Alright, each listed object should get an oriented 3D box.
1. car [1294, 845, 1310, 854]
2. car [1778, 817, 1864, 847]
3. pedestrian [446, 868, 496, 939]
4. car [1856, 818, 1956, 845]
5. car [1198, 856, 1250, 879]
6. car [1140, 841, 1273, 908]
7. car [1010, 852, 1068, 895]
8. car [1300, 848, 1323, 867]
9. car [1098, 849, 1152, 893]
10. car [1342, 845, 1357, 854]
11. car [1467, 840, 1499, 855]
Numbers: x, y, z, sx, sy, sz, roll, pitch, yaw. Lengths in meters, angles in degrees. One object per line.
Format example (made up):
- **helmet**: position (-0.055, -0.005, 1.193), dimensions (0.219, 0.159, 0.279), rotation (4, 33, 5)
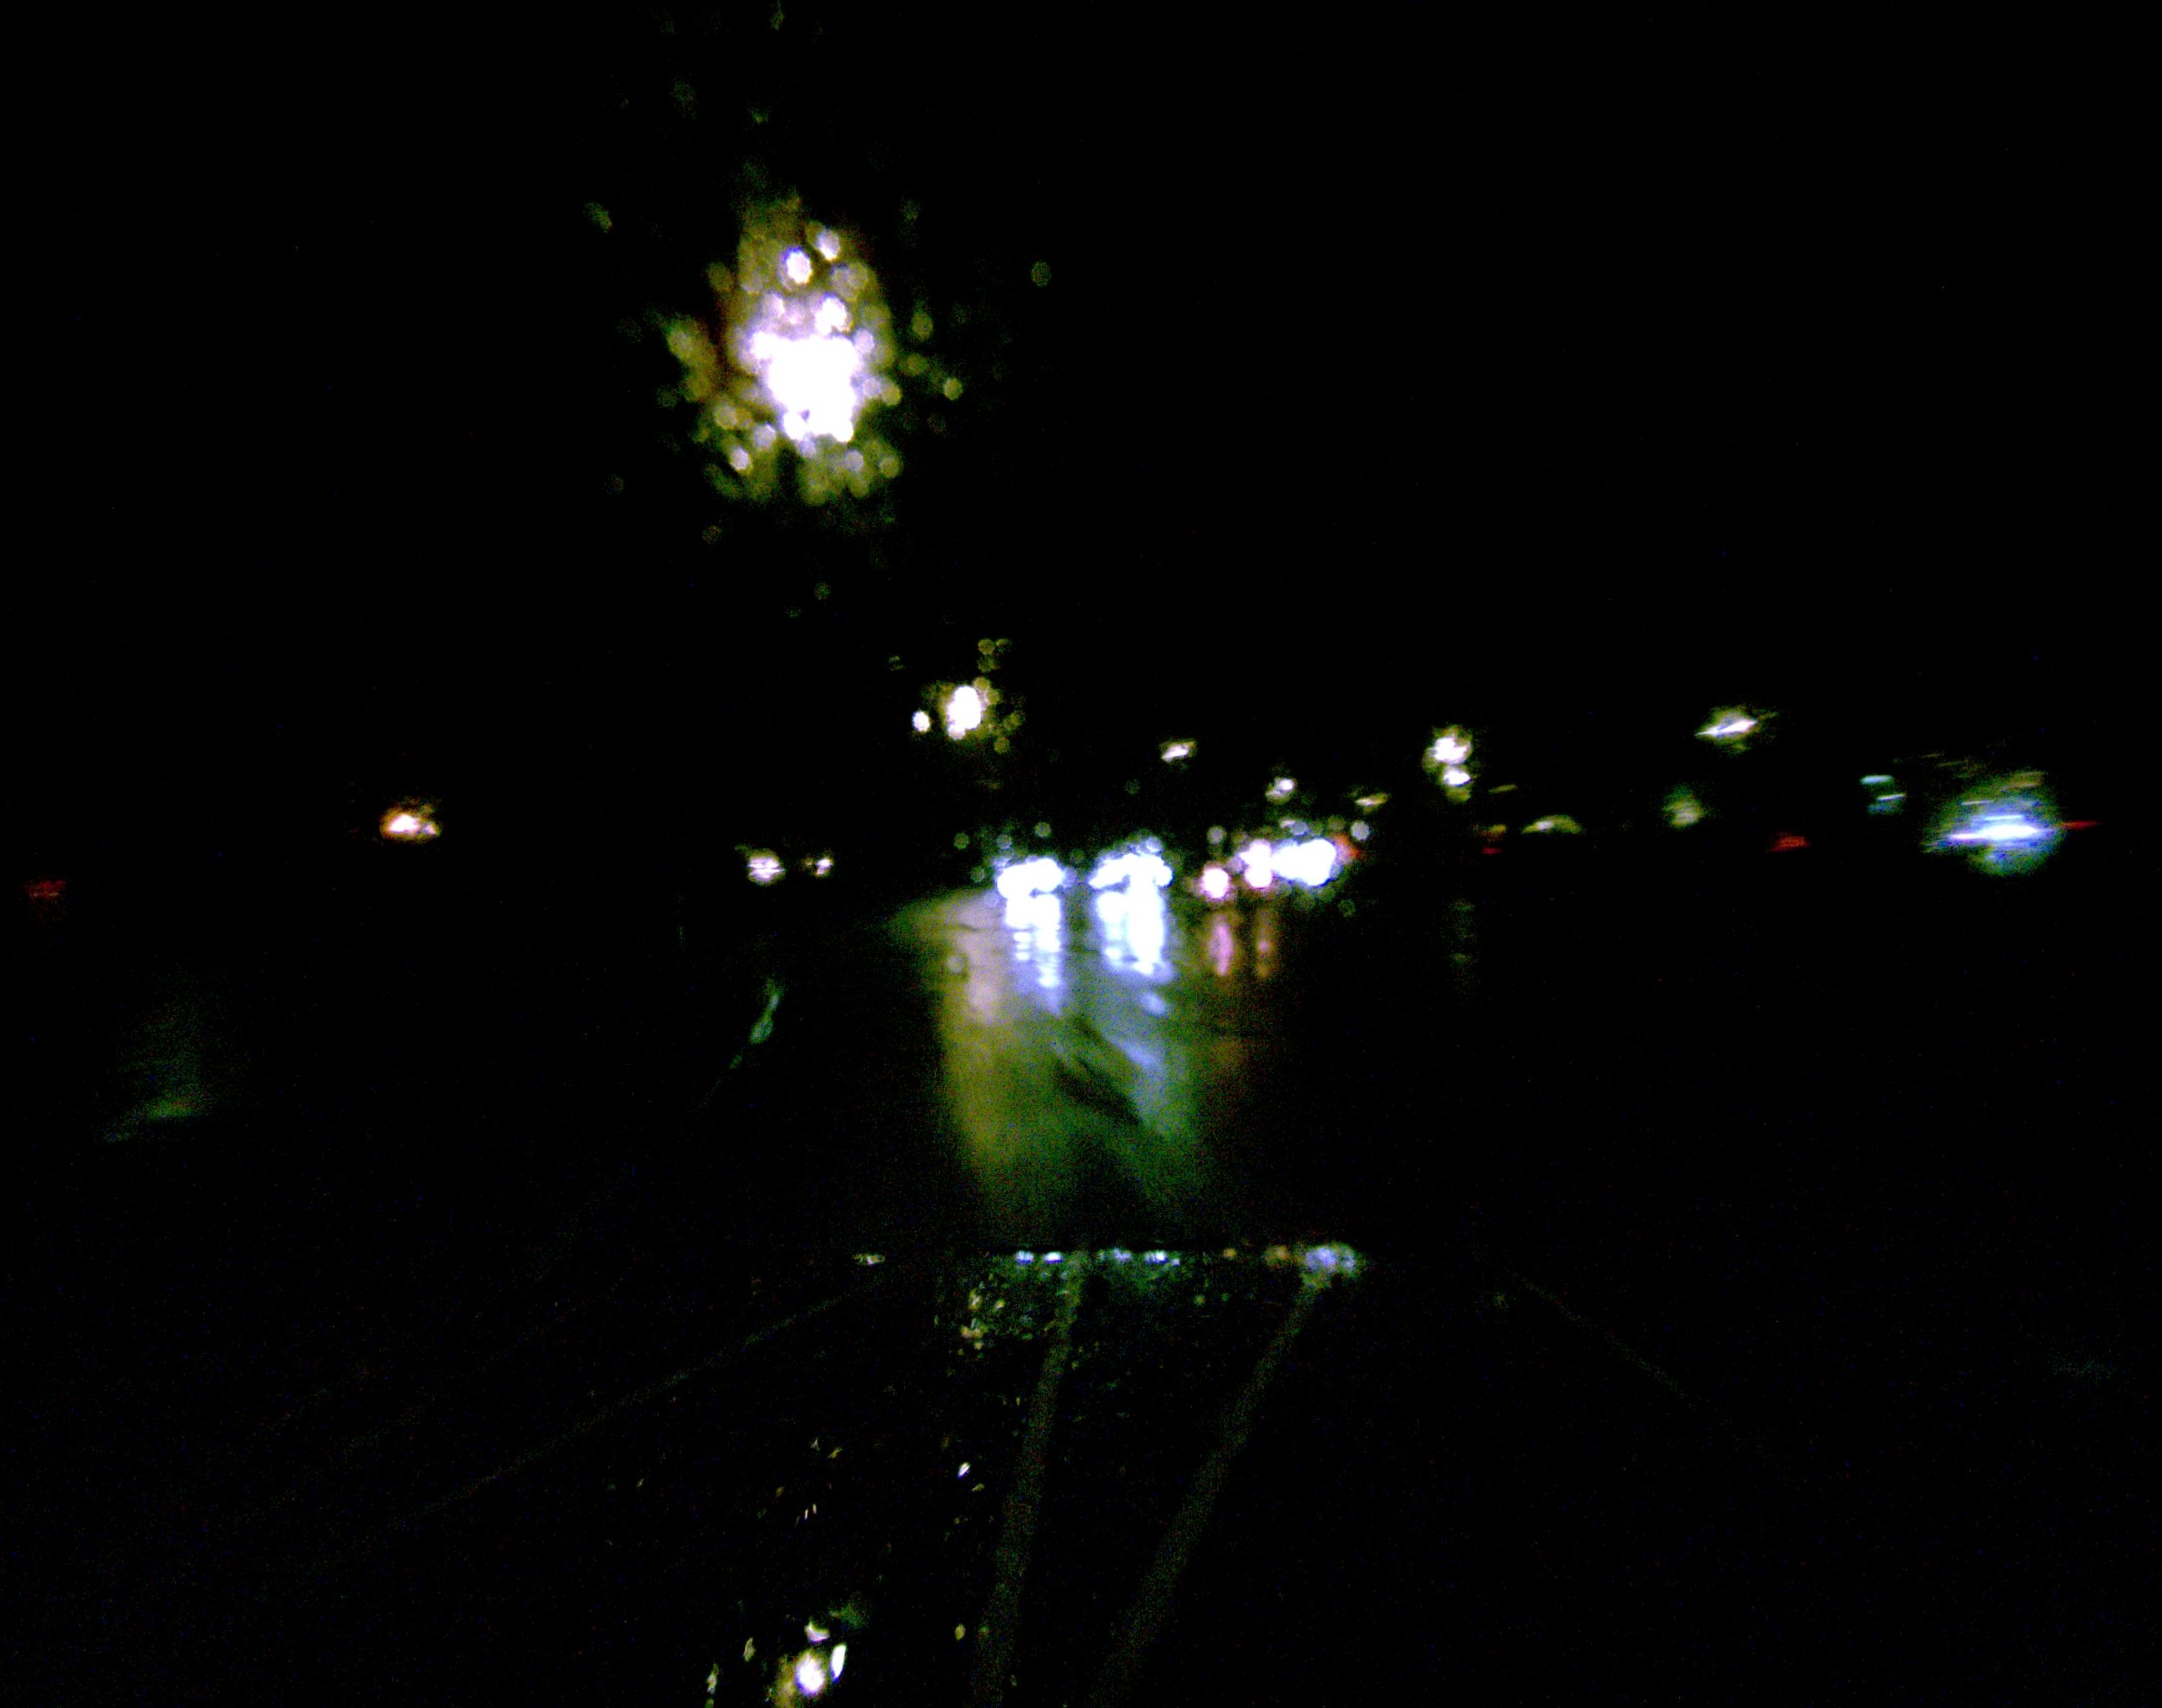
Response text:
- **car**: position (49.660, -1.037, 170.853), dimensions (2.069, 1.705, 5.040), rotation (-4, 0, -2)
- **car**: position (47.711, -1.412, 49.074), dimensions (3.863, 1.608, 1.776), rotation (-4, 0, 44)
- **pedestrian**: position (-16.773, 1.351, 20.895), dimensions (0.653, 1.890, 0.730), rotation (-4, 0, 17)
- **car**: position (53.478, -1.461, 49.321), dimensions (1.835, 1.436, 4.011), rotation (-4, 0, -26)
- **car**: position (11.878, 1.082, 62.880), dimensions (3.955, 1.612, 1.947), rotation (-3, 0, -36)
- **car**: position (3.258, 0.540, 20.858), dimensions (1.835, 1.518, 4.870), rotation (-4, 0, -12)
- **car**: position (-1.811, 0.827, 34.322), dimensions (1.950, 1.709, 4.443), rotation (-4, 0, 4)
- **car**: position (22.556, 0.312, 74.490), dimensions (1.805, 1.696, 4.004), rotation (-4, 0, 13)
- **car**: position (2.002, 0.698, 33.687), dimensions (1.832, 1.696, 4.197), rotation (-4, 0, 9)
- **car**: position (47.924, -0.777, 135.701), dimensions (1.827, 1.364, 3.950), rotation (-4, 0, 8)
- **car**: position (46.235, -0.740, 87.382), dimensions (1.771, 1.608, 3.874), rotation (-4, 0, 4)
